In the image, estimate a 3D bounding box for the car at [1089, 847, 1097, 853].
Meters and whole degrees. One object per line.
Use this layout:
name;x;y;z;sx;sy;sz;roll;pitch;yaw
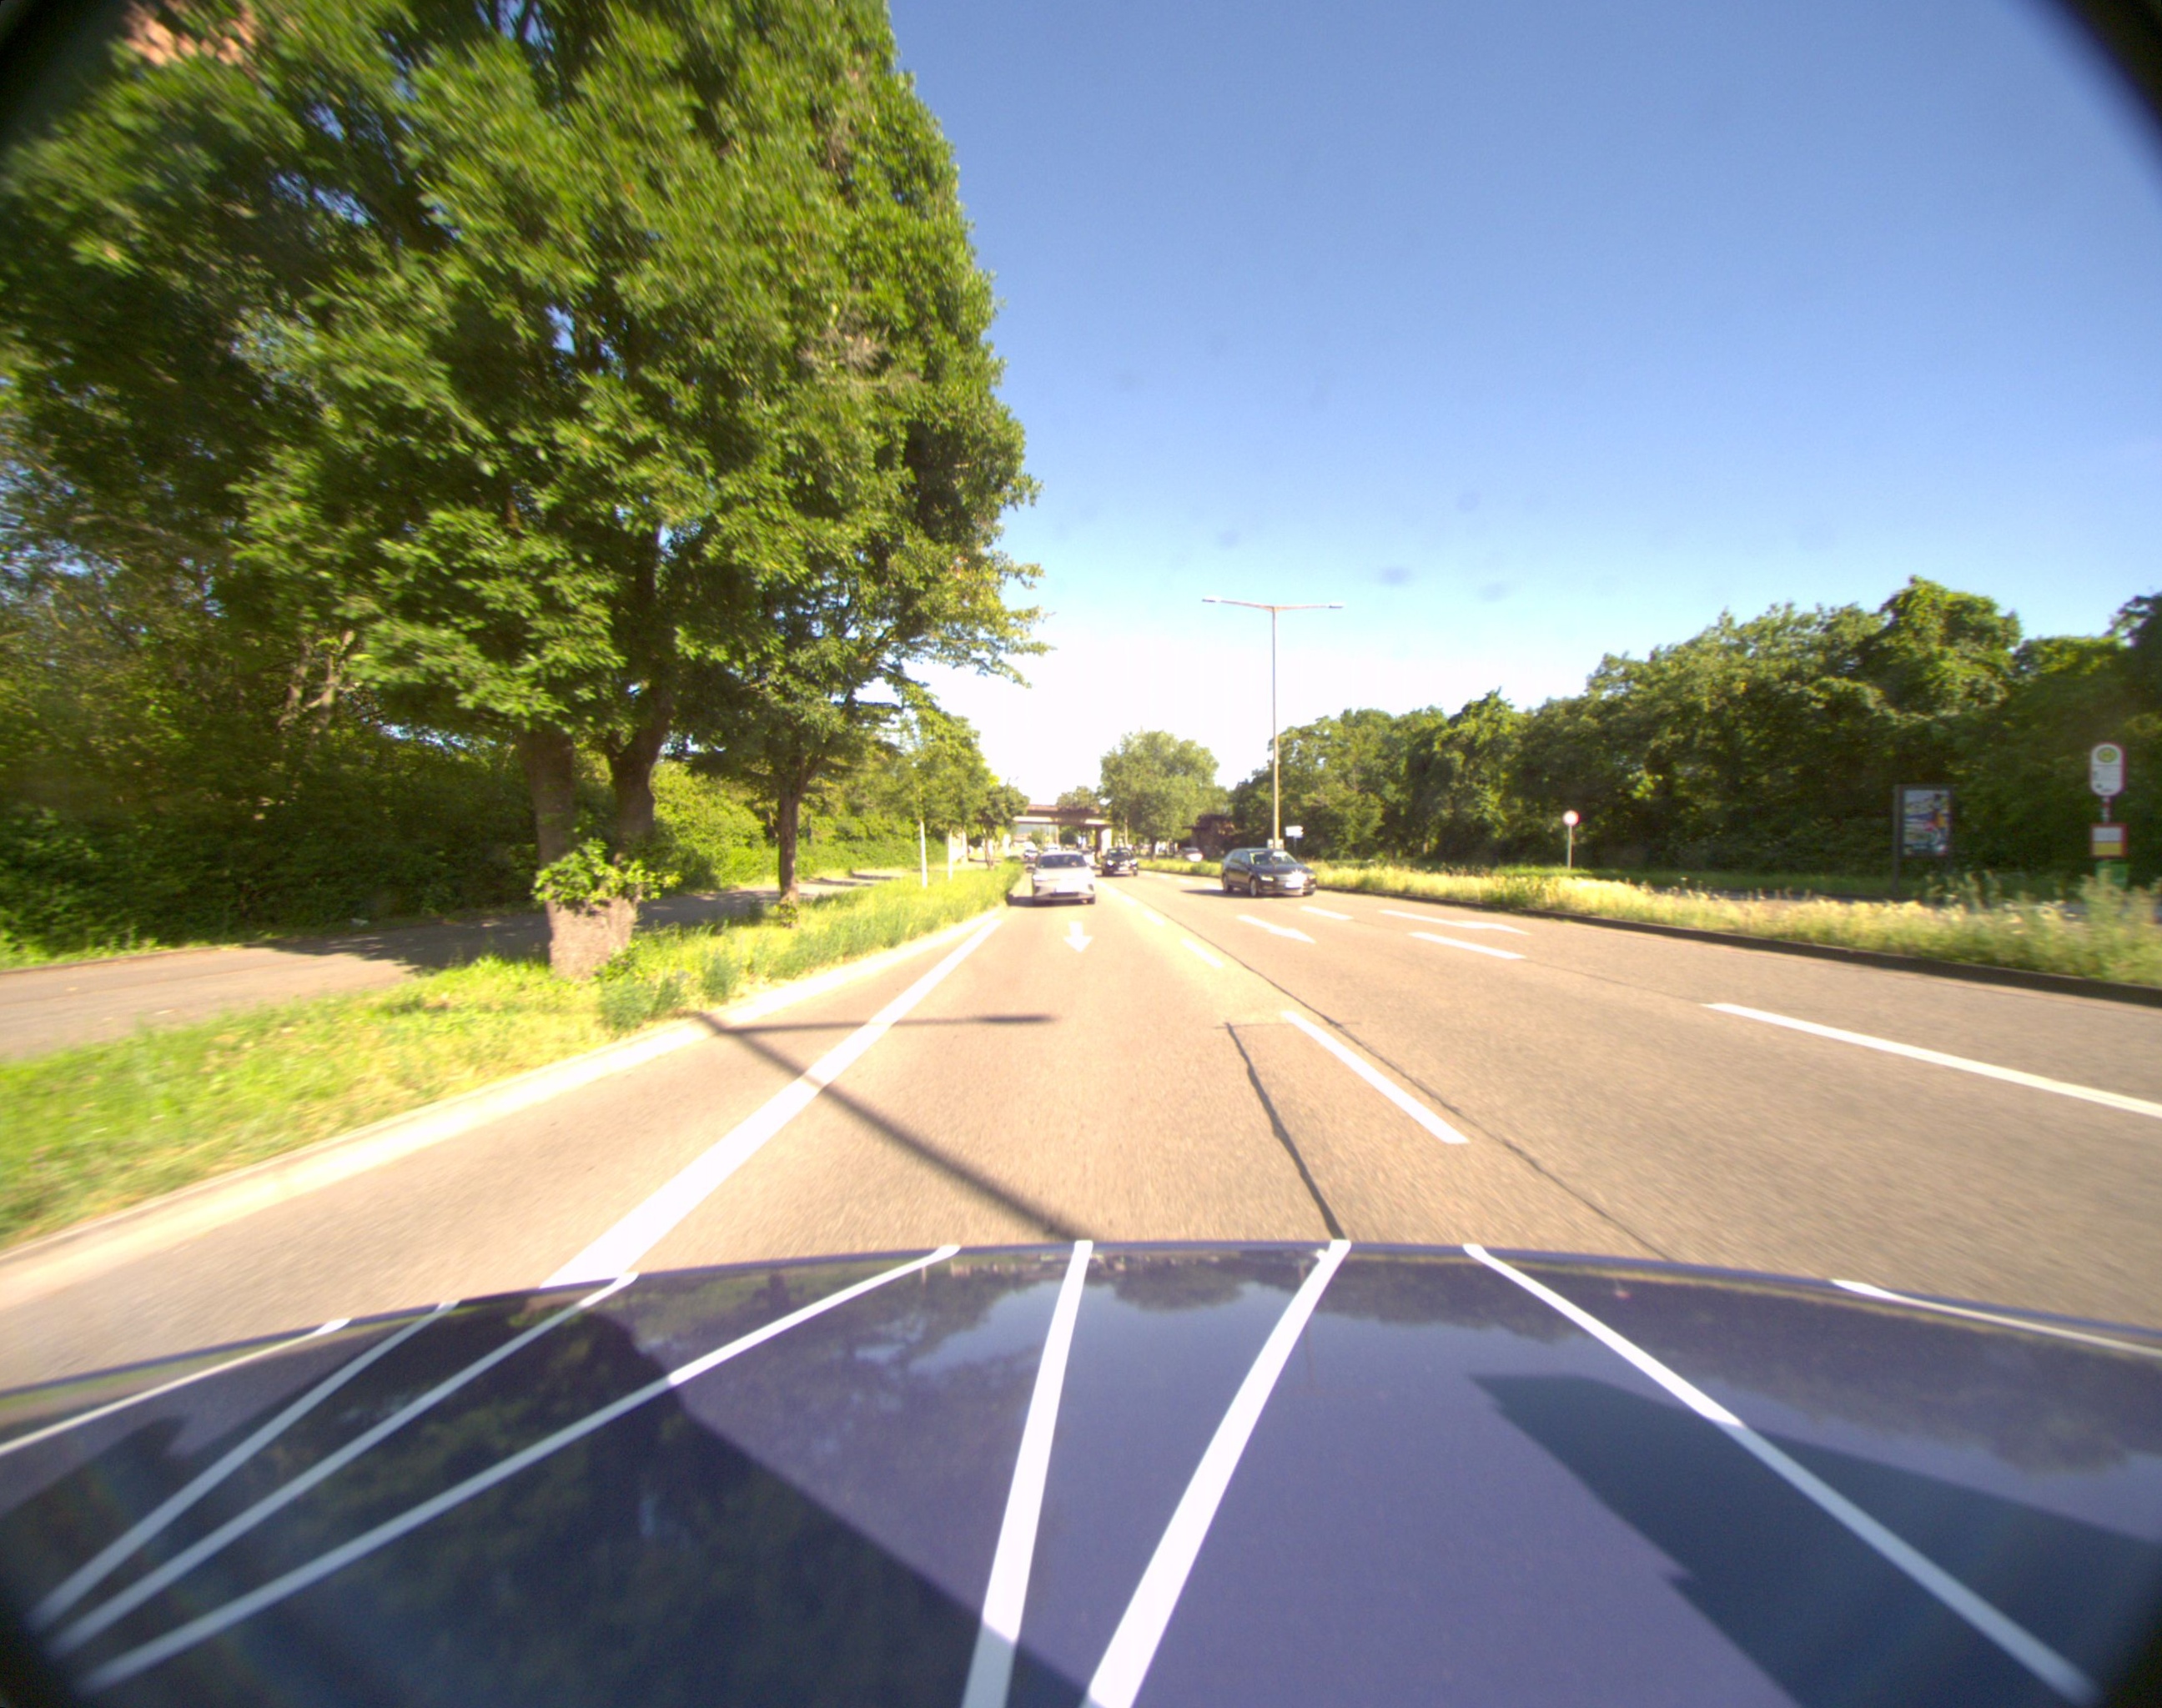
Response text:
car;3.078;-1.054;194.036;1.715;1.653;3.853;-1;1;-6

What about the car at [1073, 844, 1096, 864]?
car;0.271;0.000;70.186;1.714;1.653;3.854;-3;1;-5

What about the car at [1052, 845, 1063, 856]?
car;-4.172;-0.639;134.620;1.999;2.002;3.999;-1;1;-1

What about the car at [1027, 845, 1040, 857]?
car;-6.952;-0.496;111.579;1.874;1.611;3.835;-2;1;-3

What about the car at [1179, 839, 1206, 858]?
car;10.200;-0.549;69.631;1.873;1.611;3.835;-2;1;-1

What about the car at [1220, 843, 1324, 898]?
car;5.819;0.462;23.663;1.796;1.487;3.999;-2;1;-7

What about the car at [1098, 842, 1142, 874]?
car;2.171;0.232;43.269;1.715;1.653;3.853;-3;1;-8

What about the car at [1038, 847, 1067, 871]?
car;-2.041;0.315;55.884;1.873;1.611;3.836;-2;1;1

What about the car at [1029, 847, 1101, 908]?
car;-0.406;0.655;23.676;1.801;1.665;4.240;-2;1;4
